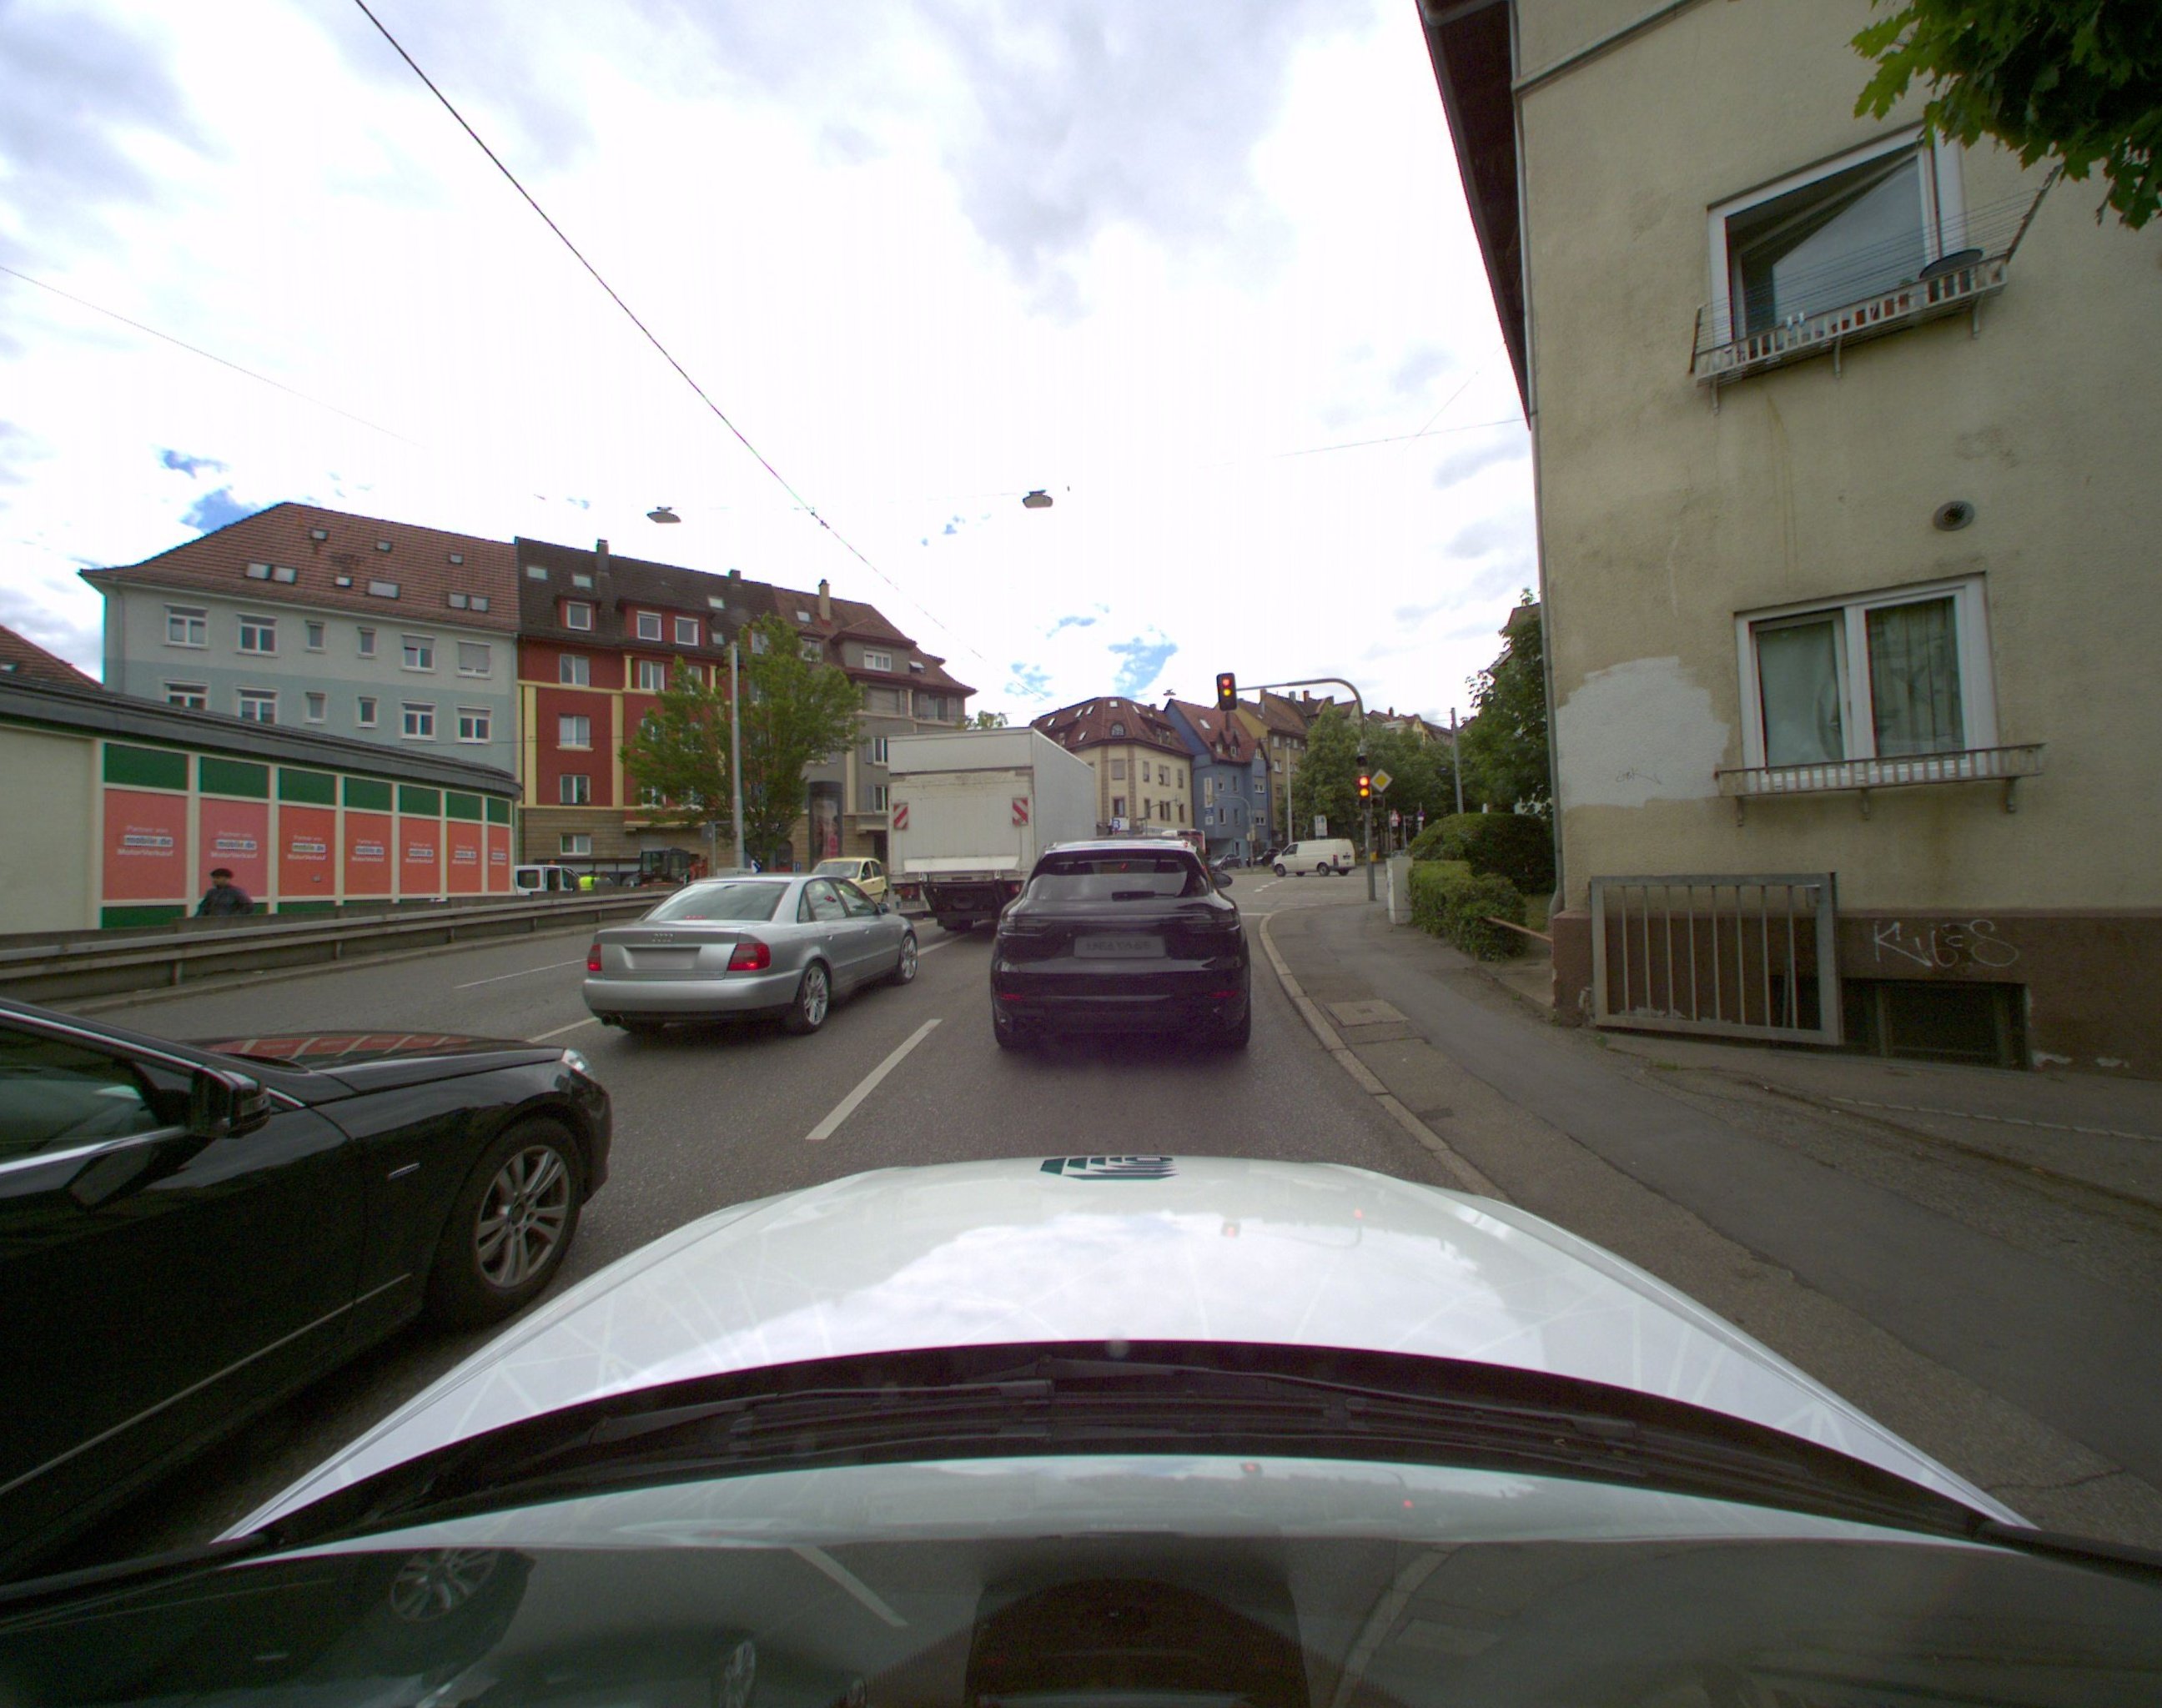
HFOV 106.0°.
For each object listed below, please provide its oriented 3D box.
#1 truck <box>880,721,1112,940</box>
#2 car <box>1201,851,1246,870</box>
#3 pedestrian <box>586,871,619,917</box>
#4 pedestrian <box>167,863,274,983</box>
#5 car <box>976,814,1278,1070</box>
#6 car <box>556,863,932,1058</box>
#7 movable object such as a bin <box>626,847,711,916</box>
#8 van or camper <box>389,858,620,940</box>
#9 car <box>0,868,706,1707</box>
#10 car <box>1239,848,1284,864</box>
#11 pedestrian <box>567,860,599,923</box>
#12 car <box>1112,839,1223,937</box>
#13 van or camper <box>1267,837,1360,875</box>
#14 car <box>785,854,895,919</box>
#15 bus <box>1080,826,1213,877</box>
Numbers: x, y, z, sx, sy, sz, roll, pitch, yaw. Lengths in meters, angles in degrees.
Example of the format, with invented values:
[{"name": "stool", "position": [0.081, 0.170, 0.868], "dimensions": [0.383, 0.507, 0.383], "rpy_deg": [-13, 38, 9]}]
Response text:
[{"name": "truck", "position": [-1.278, -0.383, 17.535], "dimensions": [2.708, 3.544, 8.445], "rpy_deg": [0, 0, 10]}, {"name": "car", "position": [12.447, 0.563, 70.961], "dimensions": [1.700, 1.476, 4.244], "rpy_deg": [-4, -2, 44]}, {"name": "pedestrian", "position": [-14.649, 1.224, 24.929], "dimensions": [0.594, 1.363, 0.630], "rpy_deg": [-2, 0, 35]}, {"name": "pedestrian", "position": [-12.270, 0.954, 11.641], "dimensions": [0.687, 1.637, 0.777], "rpy_deg": [-1, 0, -6]}, {"name": "car", "position": [0.382, 0.588, 7.759], "dimensions": [2.024, 1.723, 4.502], "rpy_deg": [0, 0, 2]}, {"name": "car", "position": [-2.951, 0.841, 8.217], "dimensions": [1.620, 1.365, 4.136], "rpy_deg": [-2, 0, 7]}, {"name": "movable object such as a bin", "position": [-13.147, 0.839, 26.152], "dimensions": [1.375, 2.013, 3.524], "rpy_deg": [-2, 0, -10]}, {"name": "van or camper", "position": [-18.989, 1.383, 27.262], "dimensions": [6.028, 2.338, 2.661], "rpy_deg": [-1, 0, -33]}, {"name": "car", "position": [-2.859, 0.802, 1.446], "dimensions": [1.986, 1.429, 4.844], "rpy_deg": [-1, 0, 2]}, {"name": "car", "position": [16.850, 0.186, 75.832], "dimensions": [4.725, 1.416, 1.853], "rpy_deg": [0, -2, -45]}, {"name": "pedestrian", "position": [-16.398, 1.228, 26.818], "dimensions": [0.829, 2.013, 0.674], "rpy_deg": [-1, 0, -29]}, {"name": "car", "position": [1.689, 0.559, 14.857], "dimensions": [1.638, 1.556, 3.595], "rpy_deg": [-1, -1, 12]}, {"name": "van or camper", "position": [12.732, 0.129, 44.871], "dimensions": [2.008, 2.014, 4.778], "rpy_deg": [0, -1, -35]}, {"name": "car", "position": [-6.291, 0.810, 21.622], "dimensions": [1.590, 1.517, 3.463], "rpy_deg": [-3, 0, 4]}, {"name": "bus", "position": [4.282, -0.038, 57.776], "dimensions": [3.177, 3.096, 12.035], "rpy_deg": [-2, -1, -29]}]
